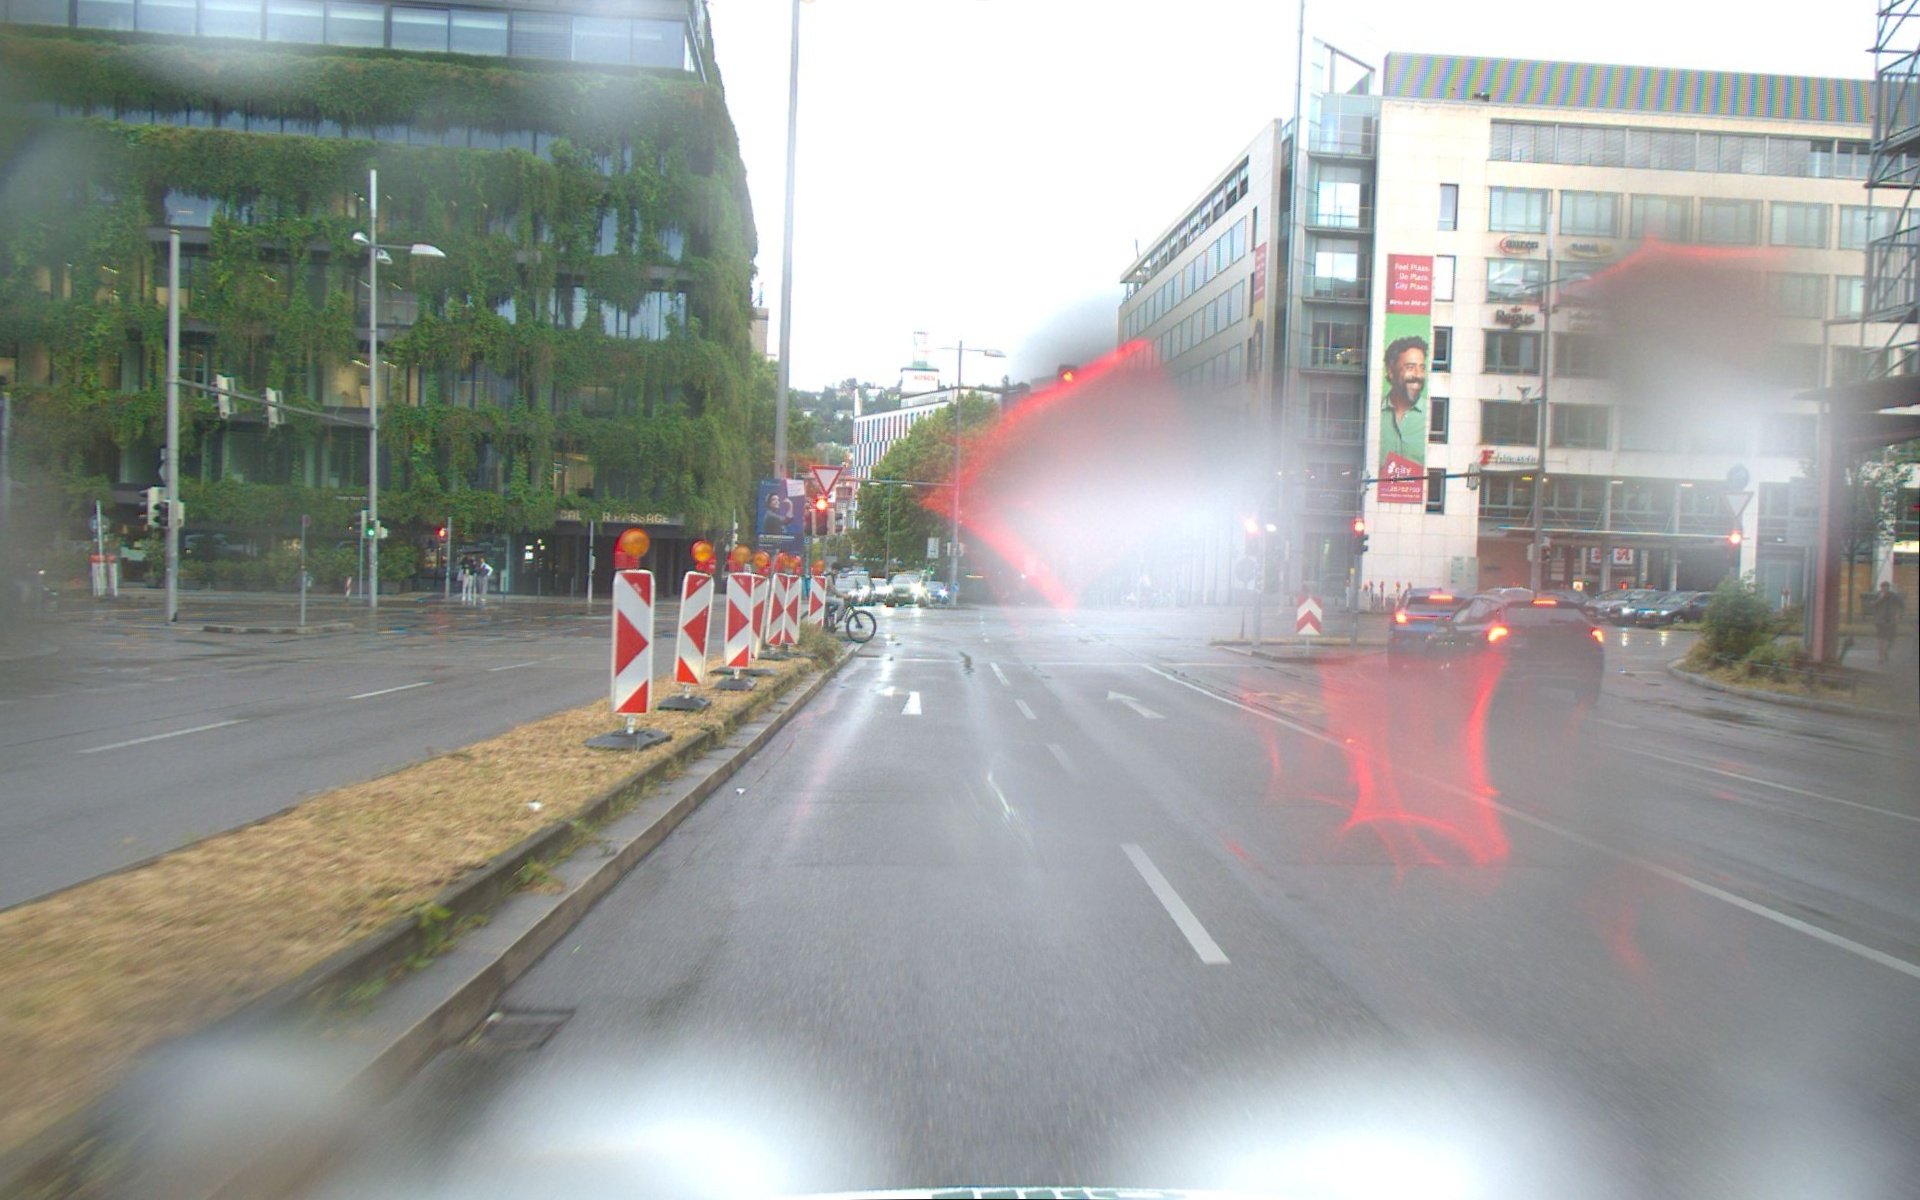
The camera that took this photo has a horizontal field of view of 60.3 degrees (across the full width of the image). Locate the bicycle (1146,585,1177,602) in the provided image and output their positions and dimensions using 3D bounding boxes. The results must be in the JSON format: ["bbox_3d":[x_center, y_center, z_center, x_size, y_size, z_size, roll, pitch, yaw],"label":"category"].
[{"bbox_3d":[11.412,-0.378,93.700,1.767,0.950,0.473,2,1,41],"label":"bicycle"}]

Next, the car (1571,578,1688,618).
[{"bbox_3d":[28.974,-0.103,71.625,4.377,1.626,1.992,1,1,-16],"label":"car"}]

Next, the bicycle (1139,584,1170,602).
[{"bbox_3d":[10.836,-0.370,92.084,1.767,0.950,0.473,2,1,41],"label":"bicycle"}]

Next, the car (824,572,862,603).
[{"bbox_3d":[-6.063,-0.655,85.562,1.820,1.473,4.616,1,1,-6],"label":"car"}]

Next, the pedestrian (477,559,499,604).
[{"bbox_3d":[-18.891,-0.739,66.191,0.731,1.788,0.969,1,1,-24],"label":"pedestrian"}]

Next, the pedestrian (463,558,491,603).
[{"bbox_3d":[-19.285,-0.787,66.010,0.923,1.788,1.163,1,1,-24],"label":"pedestrian"}]

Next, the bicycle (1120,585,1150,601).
[{"bbox_3d":[10.663,-0.423,100.612,1.757,0.950,0.475,1,1,2],"label":"bicycle"}]

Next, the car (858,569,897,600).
[{"bbox_3d":[-5.178,-0.956,102.900,2.133,1.855,4.638,1,1,-6],"label":"car"}]

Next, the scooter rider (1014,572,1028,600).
[{"bbox_3d":[3.900,-0.892,106.367,0.748,1.805,0.795,1,0,-8],"label":"scooter rider"}]

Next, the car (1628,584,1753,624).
[{"bbox_3d":[28.704,0.153,65.011,4.374,1.489,1.717,1,1,-14],"label":"car"}]

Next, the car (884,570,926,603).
[{"bbox_3d":[-2.792,-0.700,83.305,1.954,1.577,4.553,1,1,-3],"label":"car"}]

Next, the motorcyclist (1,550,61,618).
[{"bbox_3d":[-24.078,-0.419,42.890,1.166,1.732,0.844,1,1,-17],"label":"motorcyclist"}]

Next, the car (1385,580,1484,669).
[{"bbox_3d":[9.126,0.419,32.058,1.667,1.556,4.430,1,1,14],"label":"car"}]

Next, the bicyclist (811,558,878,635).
[{"bbox_3d":[-2.647,-0.083,37.796,1.280,1.733,0.840,1,1,-28],"label":"bicyclist"}]

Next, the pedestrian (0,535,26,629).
[{"bbox_3d":[-19.970,-0.348,34.141,0.768,1.918,0.898,-3,1,-1],"label":"pedestrian"}]

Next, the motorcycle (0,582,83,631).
[{"bbox_3d":[-24.073,0.154,42.900,2.192,1.231,0.844,1,1,-17],"label":"motorcycle"}]

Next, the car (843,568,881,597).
[{"bbox_3d":[-5.461,-0.979,92.006,1.821,1.473,4.614,1,1,-7],"label":"car"}]

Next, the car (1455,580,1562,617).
[{"bbox_3d":[25.675,-0.079,77.443,4.377,1.626,1.992,1,1,-16],"label":"car"}]

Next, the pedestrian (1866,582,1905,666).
[{"bbox_3d":[21.249,0.546,37.987,0.666,1.884,1.056,1,0,24],"label":"pedestrian"}]

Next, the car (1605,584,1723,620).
[{"bbox_3d":[28.902,0.065,67.904,4.377,1.372,1.716,1,1,-16],"label":"car"}]

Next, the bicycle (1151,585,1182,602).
[{"bbox_3d":[11.584,-0.367,92.736,1.767,0.950,0.473,2,1,41],"label":"bicycle"}]

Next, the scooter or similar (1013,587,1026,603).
[{"bbox_3d":[3.838,-0.326,106.364,0.546,1.024,1.821,1,1,-7],"label":"scooter or similar"}]

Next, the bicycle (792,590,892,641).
[{"bbox_3d":[-2.686,0.344,37.760,2.121,1.122,0.840,1,1,-29],"label":"bicycle"}]

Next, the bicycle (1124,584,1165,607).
[{"bbox_3d":[9.740,-0.226,87.353,0.787,1.136,2.222,1,1,-41],"label":"bicycle"}]

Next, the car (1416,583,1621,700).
[{"bbox_3d":[8.292,0.555,24.936,1.741,1.567,4.148,1,1,1],"label":"car"}]

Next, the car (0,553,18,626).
[{"bbox_3d":[-27.719,-0.317,44.785,3.390,1.955,1.993,1,1,-14],"label":"car"}]

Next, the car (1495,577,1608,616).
[{"bbox_3d":[26.439,-0.163,74.006,4.373,1.626,1.994,1,1,-13],"label":"car"}]

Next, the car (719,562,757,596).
[{"bbox_3d":[-12.829,-1.220,95.854,1.955,1.928,4.461,1,1,-5],"label":"car"}]

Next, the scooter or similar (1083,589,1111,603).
[{"bbox_3d":[8.917,-0.253,107.722,1.720,0.894,0.486,1,0,-20],"label":"scooter or similar"}]

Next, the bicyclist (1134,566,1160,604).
[{"bbox_3d":[9.852,-0.789,87.253,0.787,2.009,1.097,1,1,-41],"label":"bicyclist"}]

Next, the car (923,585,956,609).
[{"bbox_3d":[-1.389,-0.202,111.148,1.954,1.468,4.553,0,2,-4],"label":"car"}]
